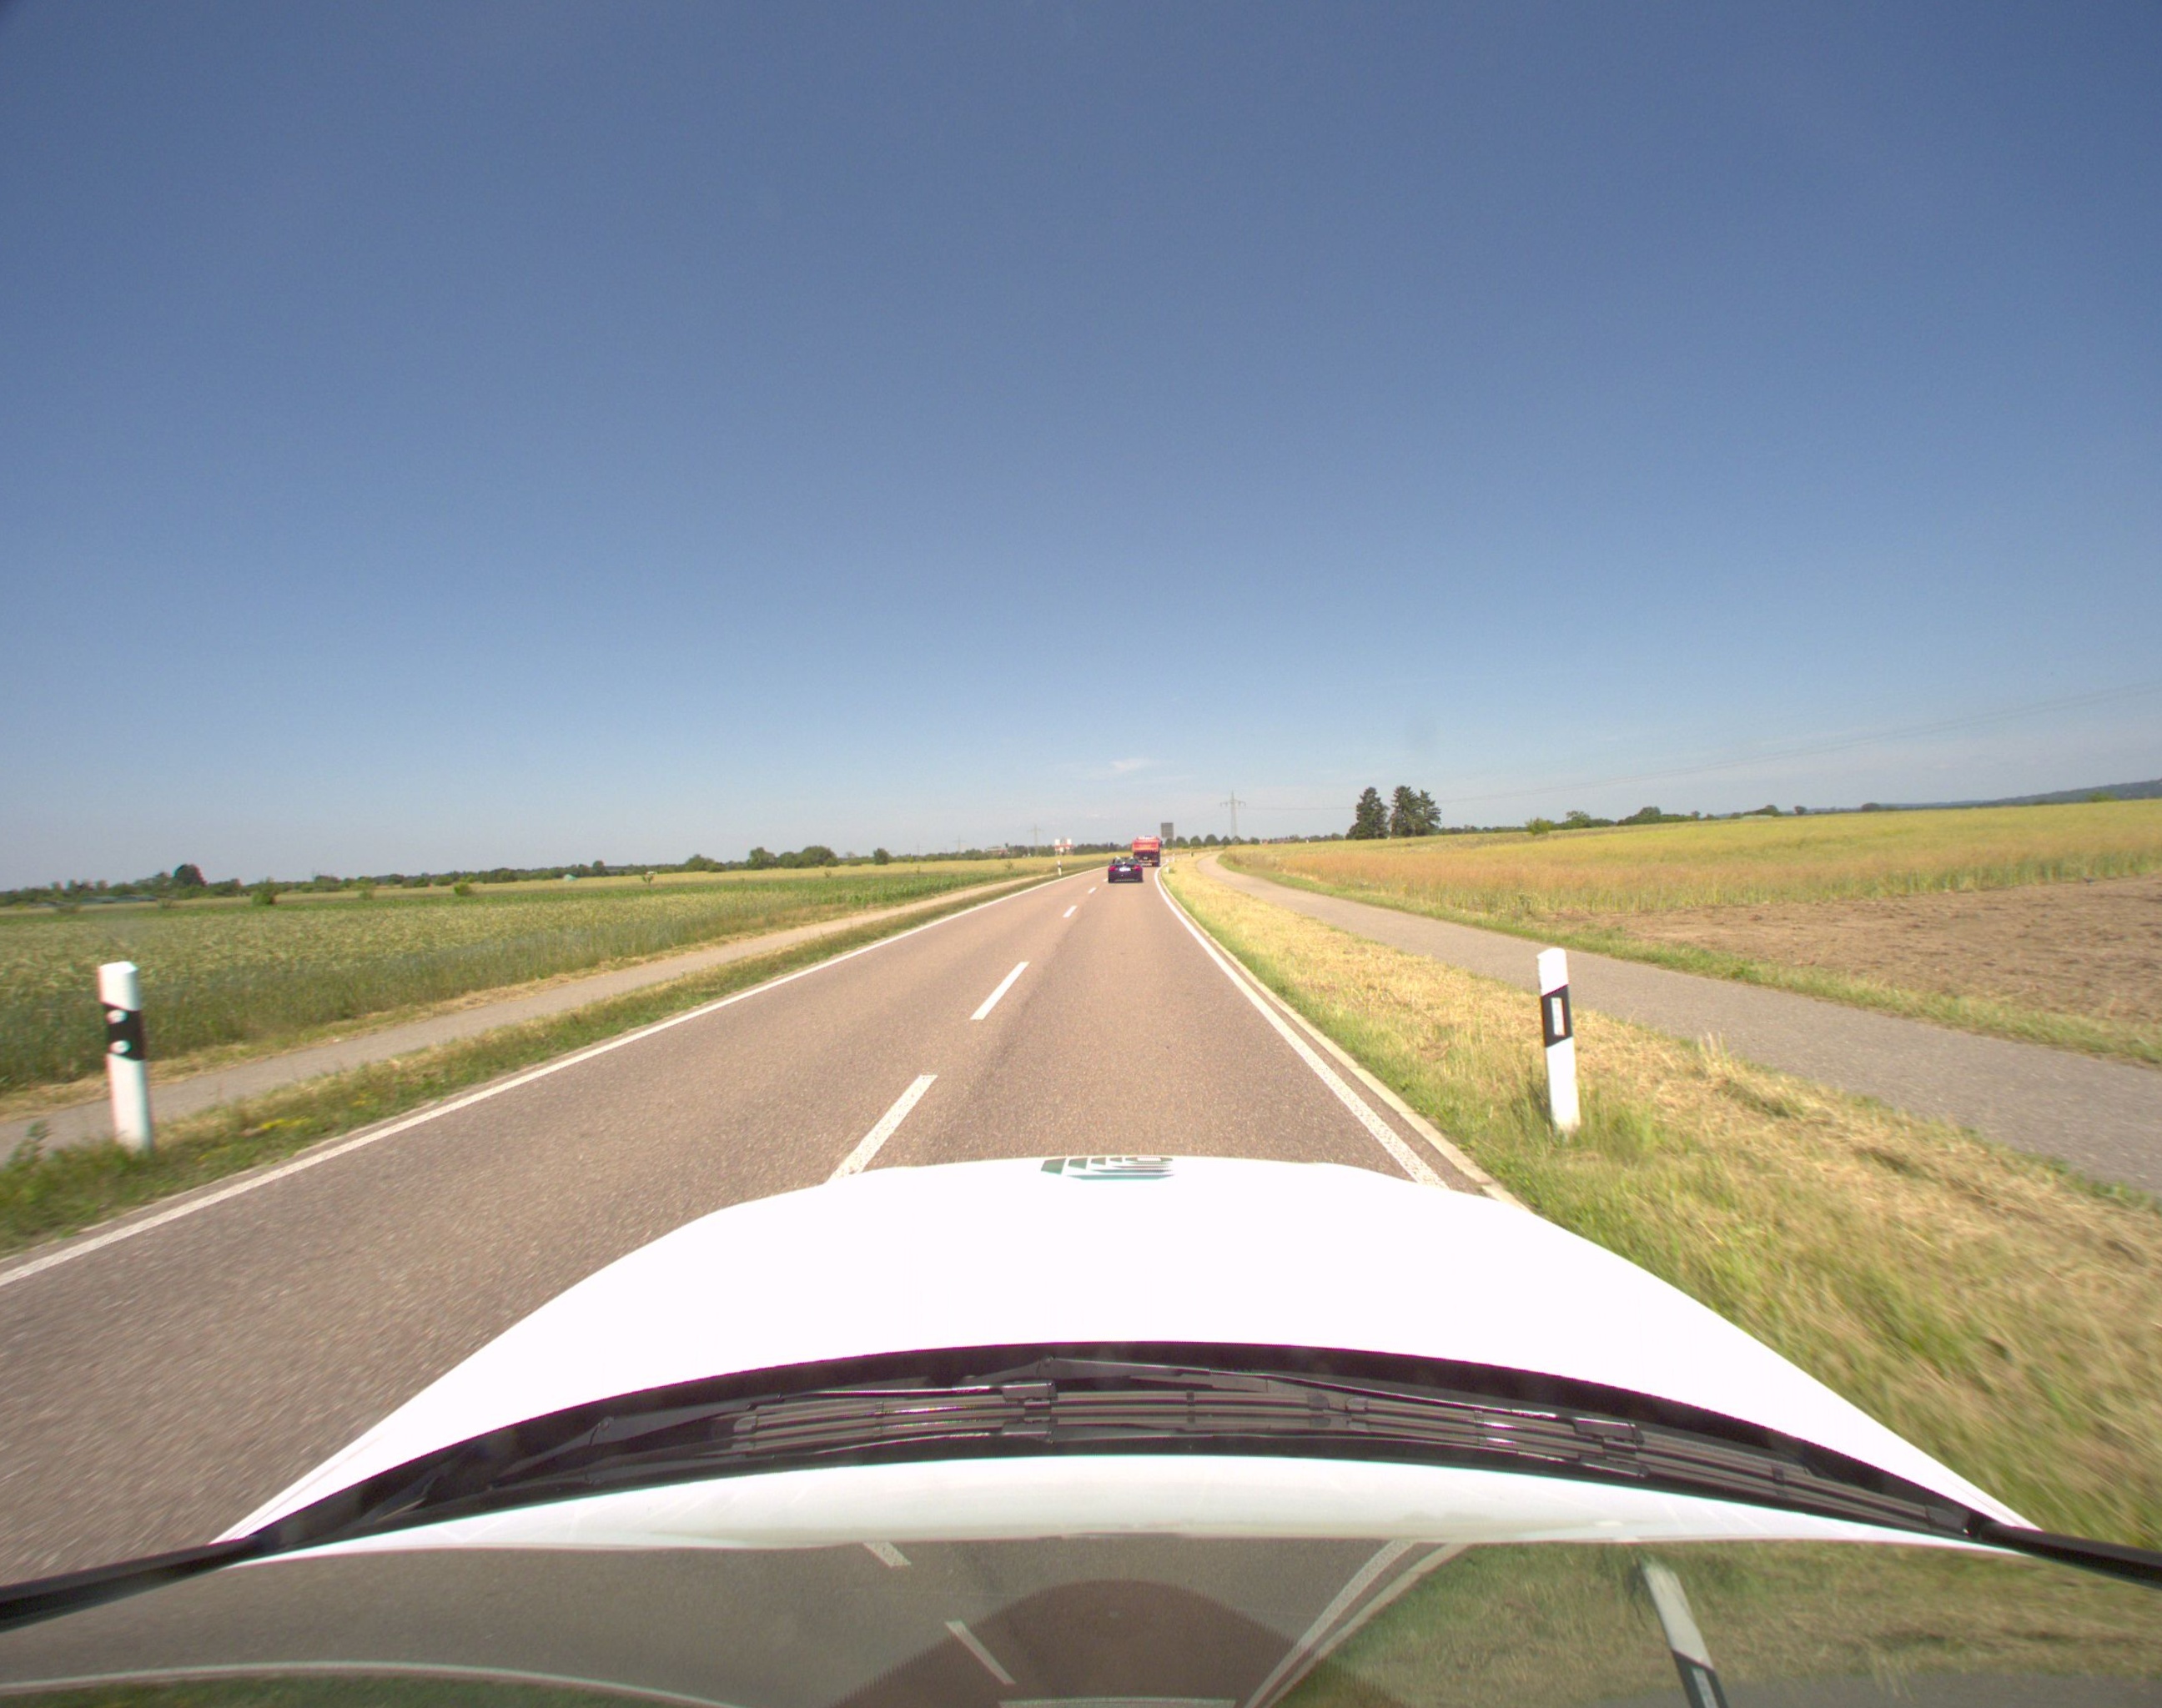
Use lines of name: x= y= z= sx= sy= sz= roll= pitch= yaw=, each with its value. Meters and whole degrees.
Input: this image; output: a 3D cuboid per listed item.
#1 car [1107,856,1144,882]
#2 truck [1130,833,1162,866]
car: x=2.325 y=0.749 z=41.993 sx=1.736 sy=1.280 sz=4.005 roll=-1 pitch=0 yaw=5
truck: x=6.581 y=-0.385 z=82.161 sx=2.924 sy=3.089 sz=7.206 roll=-2 pitch=-1 yaw=5
